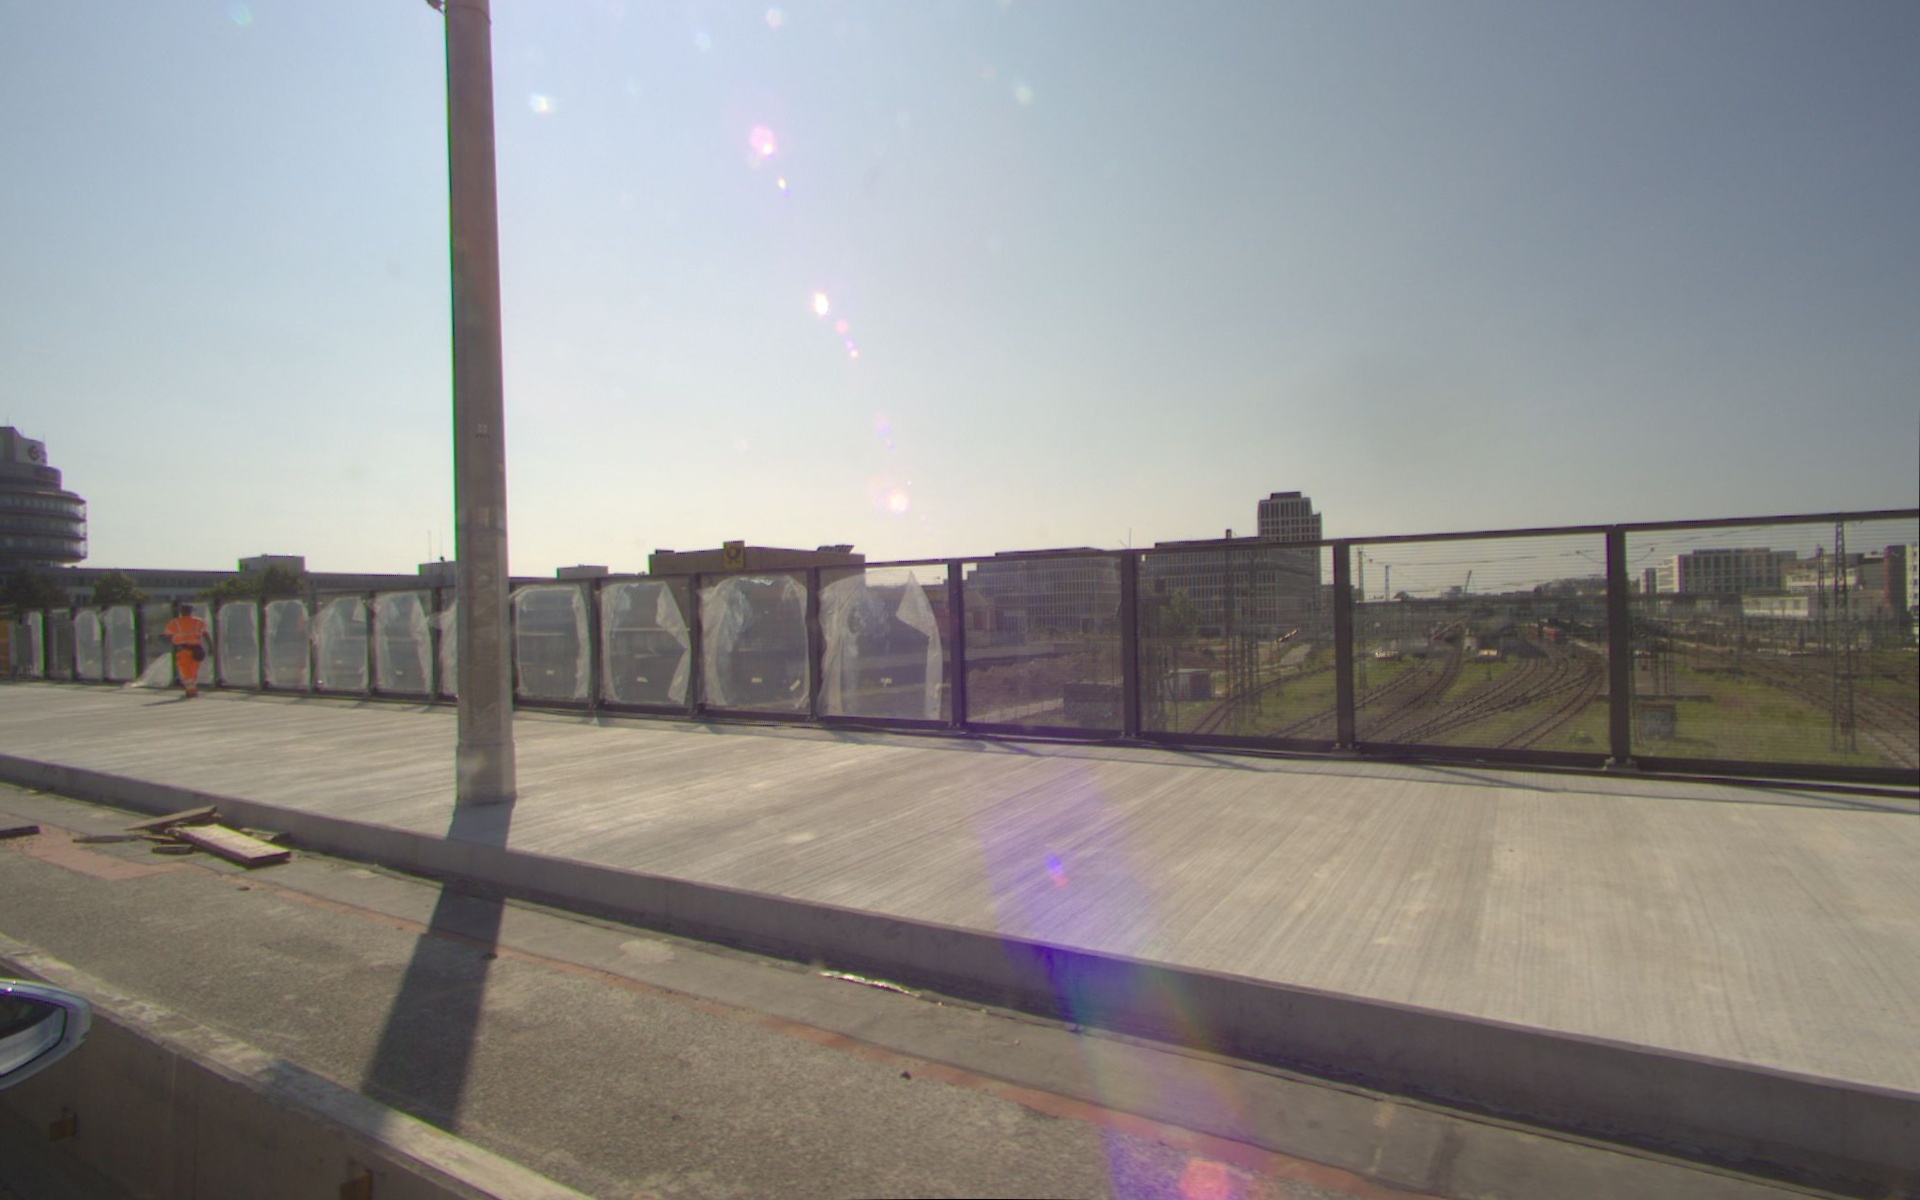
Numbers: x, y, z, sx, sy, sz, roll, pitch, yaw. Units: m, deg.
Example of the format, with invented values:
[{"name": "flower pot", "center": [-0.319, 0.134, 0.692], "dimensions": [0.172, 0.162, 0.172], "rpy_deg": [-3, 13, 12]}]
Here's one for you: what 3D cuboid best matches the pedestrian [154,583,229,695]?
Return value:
[{"name": "pedestrian", "center": [-14.099, 0.702, 18.376], "dimensions": [1.002, 1.991, 0.729], "rpy_deg": [-1, 1, 33]}]
